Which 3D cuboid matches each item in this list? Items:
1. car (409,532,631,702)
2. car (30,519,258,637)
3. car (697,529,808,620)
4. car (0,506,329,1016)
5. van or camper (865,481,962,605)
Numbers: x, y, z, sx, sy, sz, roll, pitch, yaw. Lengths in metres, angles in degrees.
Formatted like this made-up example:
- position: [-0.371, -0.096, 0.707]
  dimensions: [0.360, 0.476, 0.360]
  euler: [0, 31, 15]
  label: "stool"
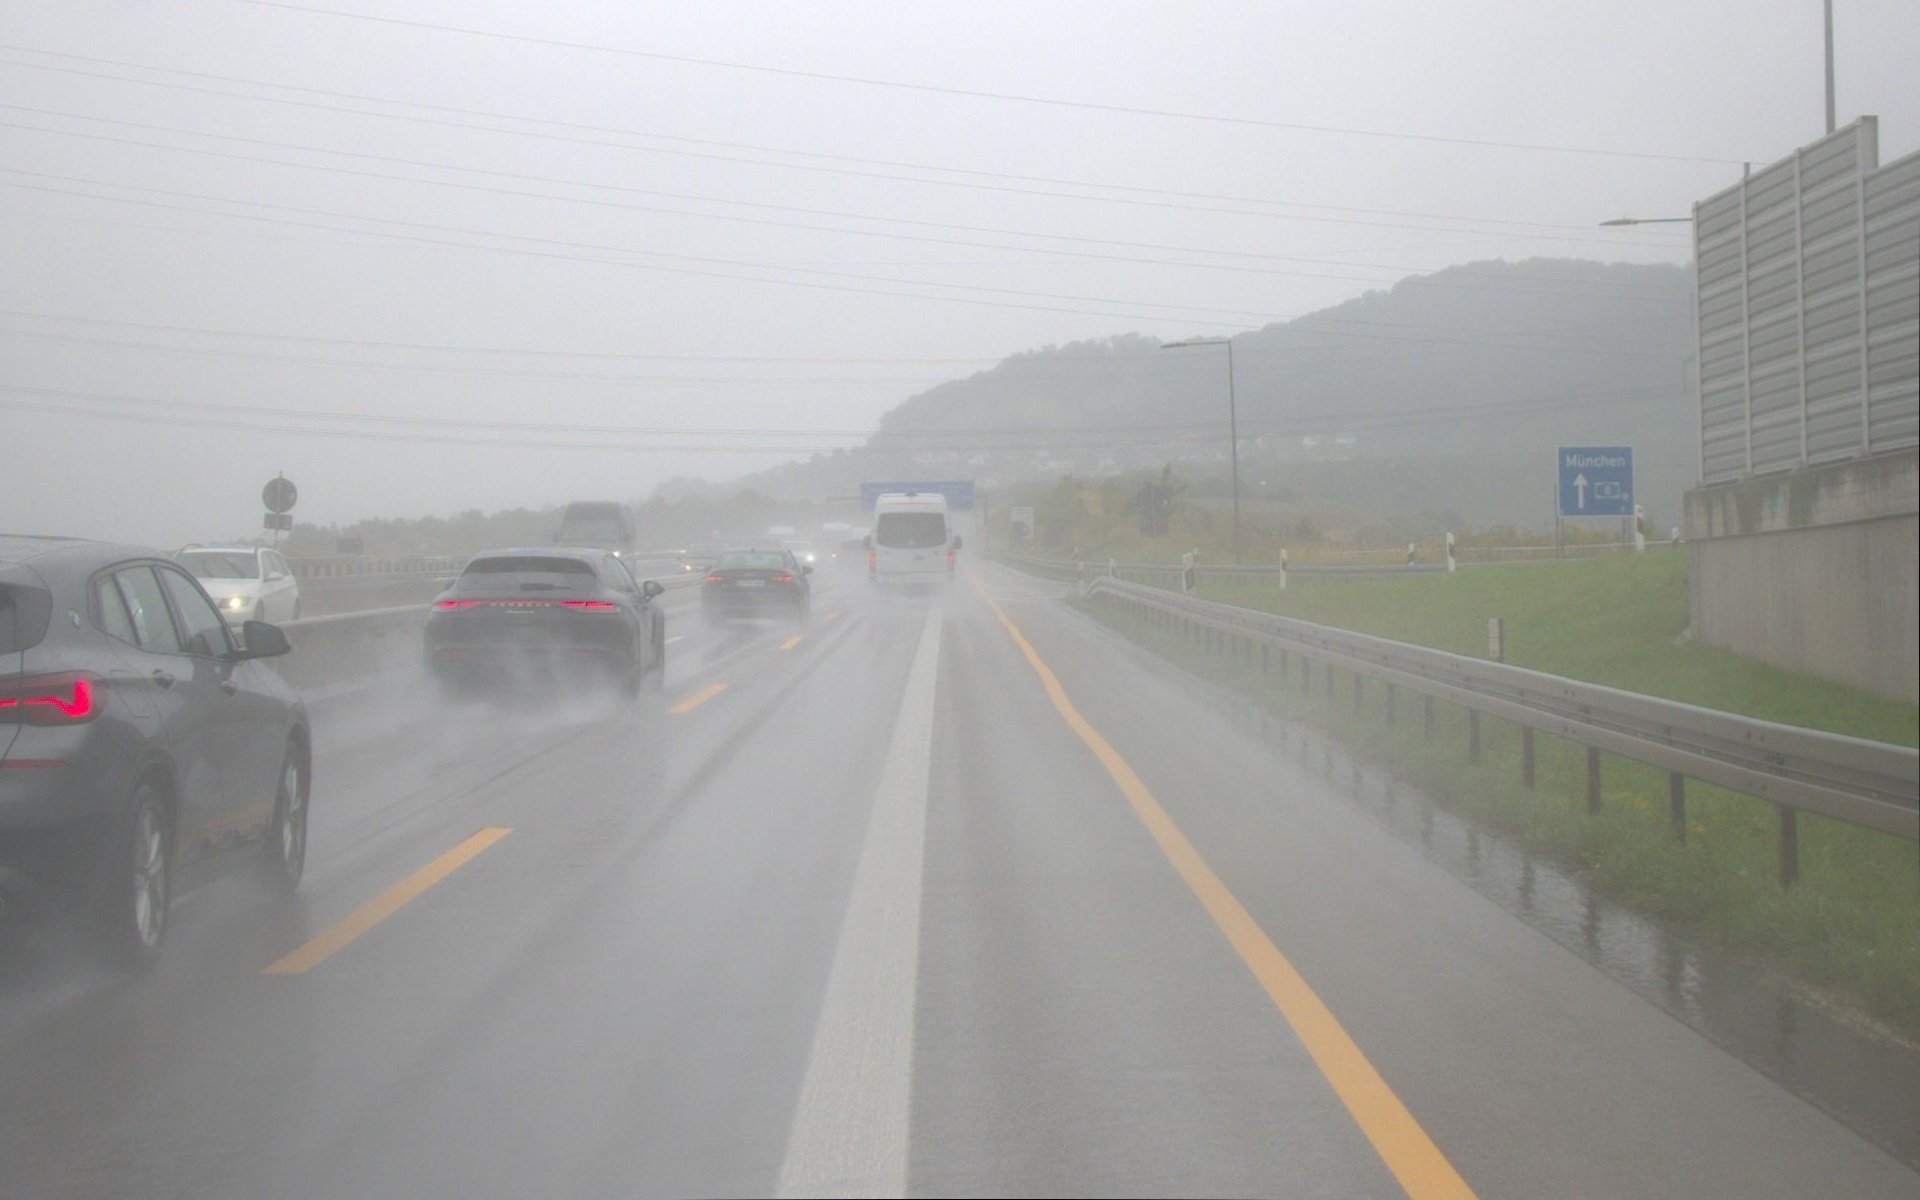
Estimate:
- position: [-4.121, 0.165, 32.740]
  dimensions: [1.844, 1.486, 4.262]
  euler: [1, 0, -4]
  label: "car"
- position: [-10.698, -0.324, 45.439]
  dimensions: [1.727, 1.432, 5.438]
  euler: [1, 1, 0]
  label: "car"
- position: [-3.681, -0.479, 60.772]
  dimensions: [1.844, 1.486, 4.262]
  euler: [-2, 1, -4]
  label: "car"
- position: [-3.546, 0.511, 13.140]
  dimensions: [1.700, 1.592, 4.846]
  euler: [1, 0, -4]
  label: "car"
- position: [-1.111, -1.298, 80.462]
  dimensions: [1.996, 2.768, 4.050]
  euler: [1, 0, -4]
  label: "van or camper"
